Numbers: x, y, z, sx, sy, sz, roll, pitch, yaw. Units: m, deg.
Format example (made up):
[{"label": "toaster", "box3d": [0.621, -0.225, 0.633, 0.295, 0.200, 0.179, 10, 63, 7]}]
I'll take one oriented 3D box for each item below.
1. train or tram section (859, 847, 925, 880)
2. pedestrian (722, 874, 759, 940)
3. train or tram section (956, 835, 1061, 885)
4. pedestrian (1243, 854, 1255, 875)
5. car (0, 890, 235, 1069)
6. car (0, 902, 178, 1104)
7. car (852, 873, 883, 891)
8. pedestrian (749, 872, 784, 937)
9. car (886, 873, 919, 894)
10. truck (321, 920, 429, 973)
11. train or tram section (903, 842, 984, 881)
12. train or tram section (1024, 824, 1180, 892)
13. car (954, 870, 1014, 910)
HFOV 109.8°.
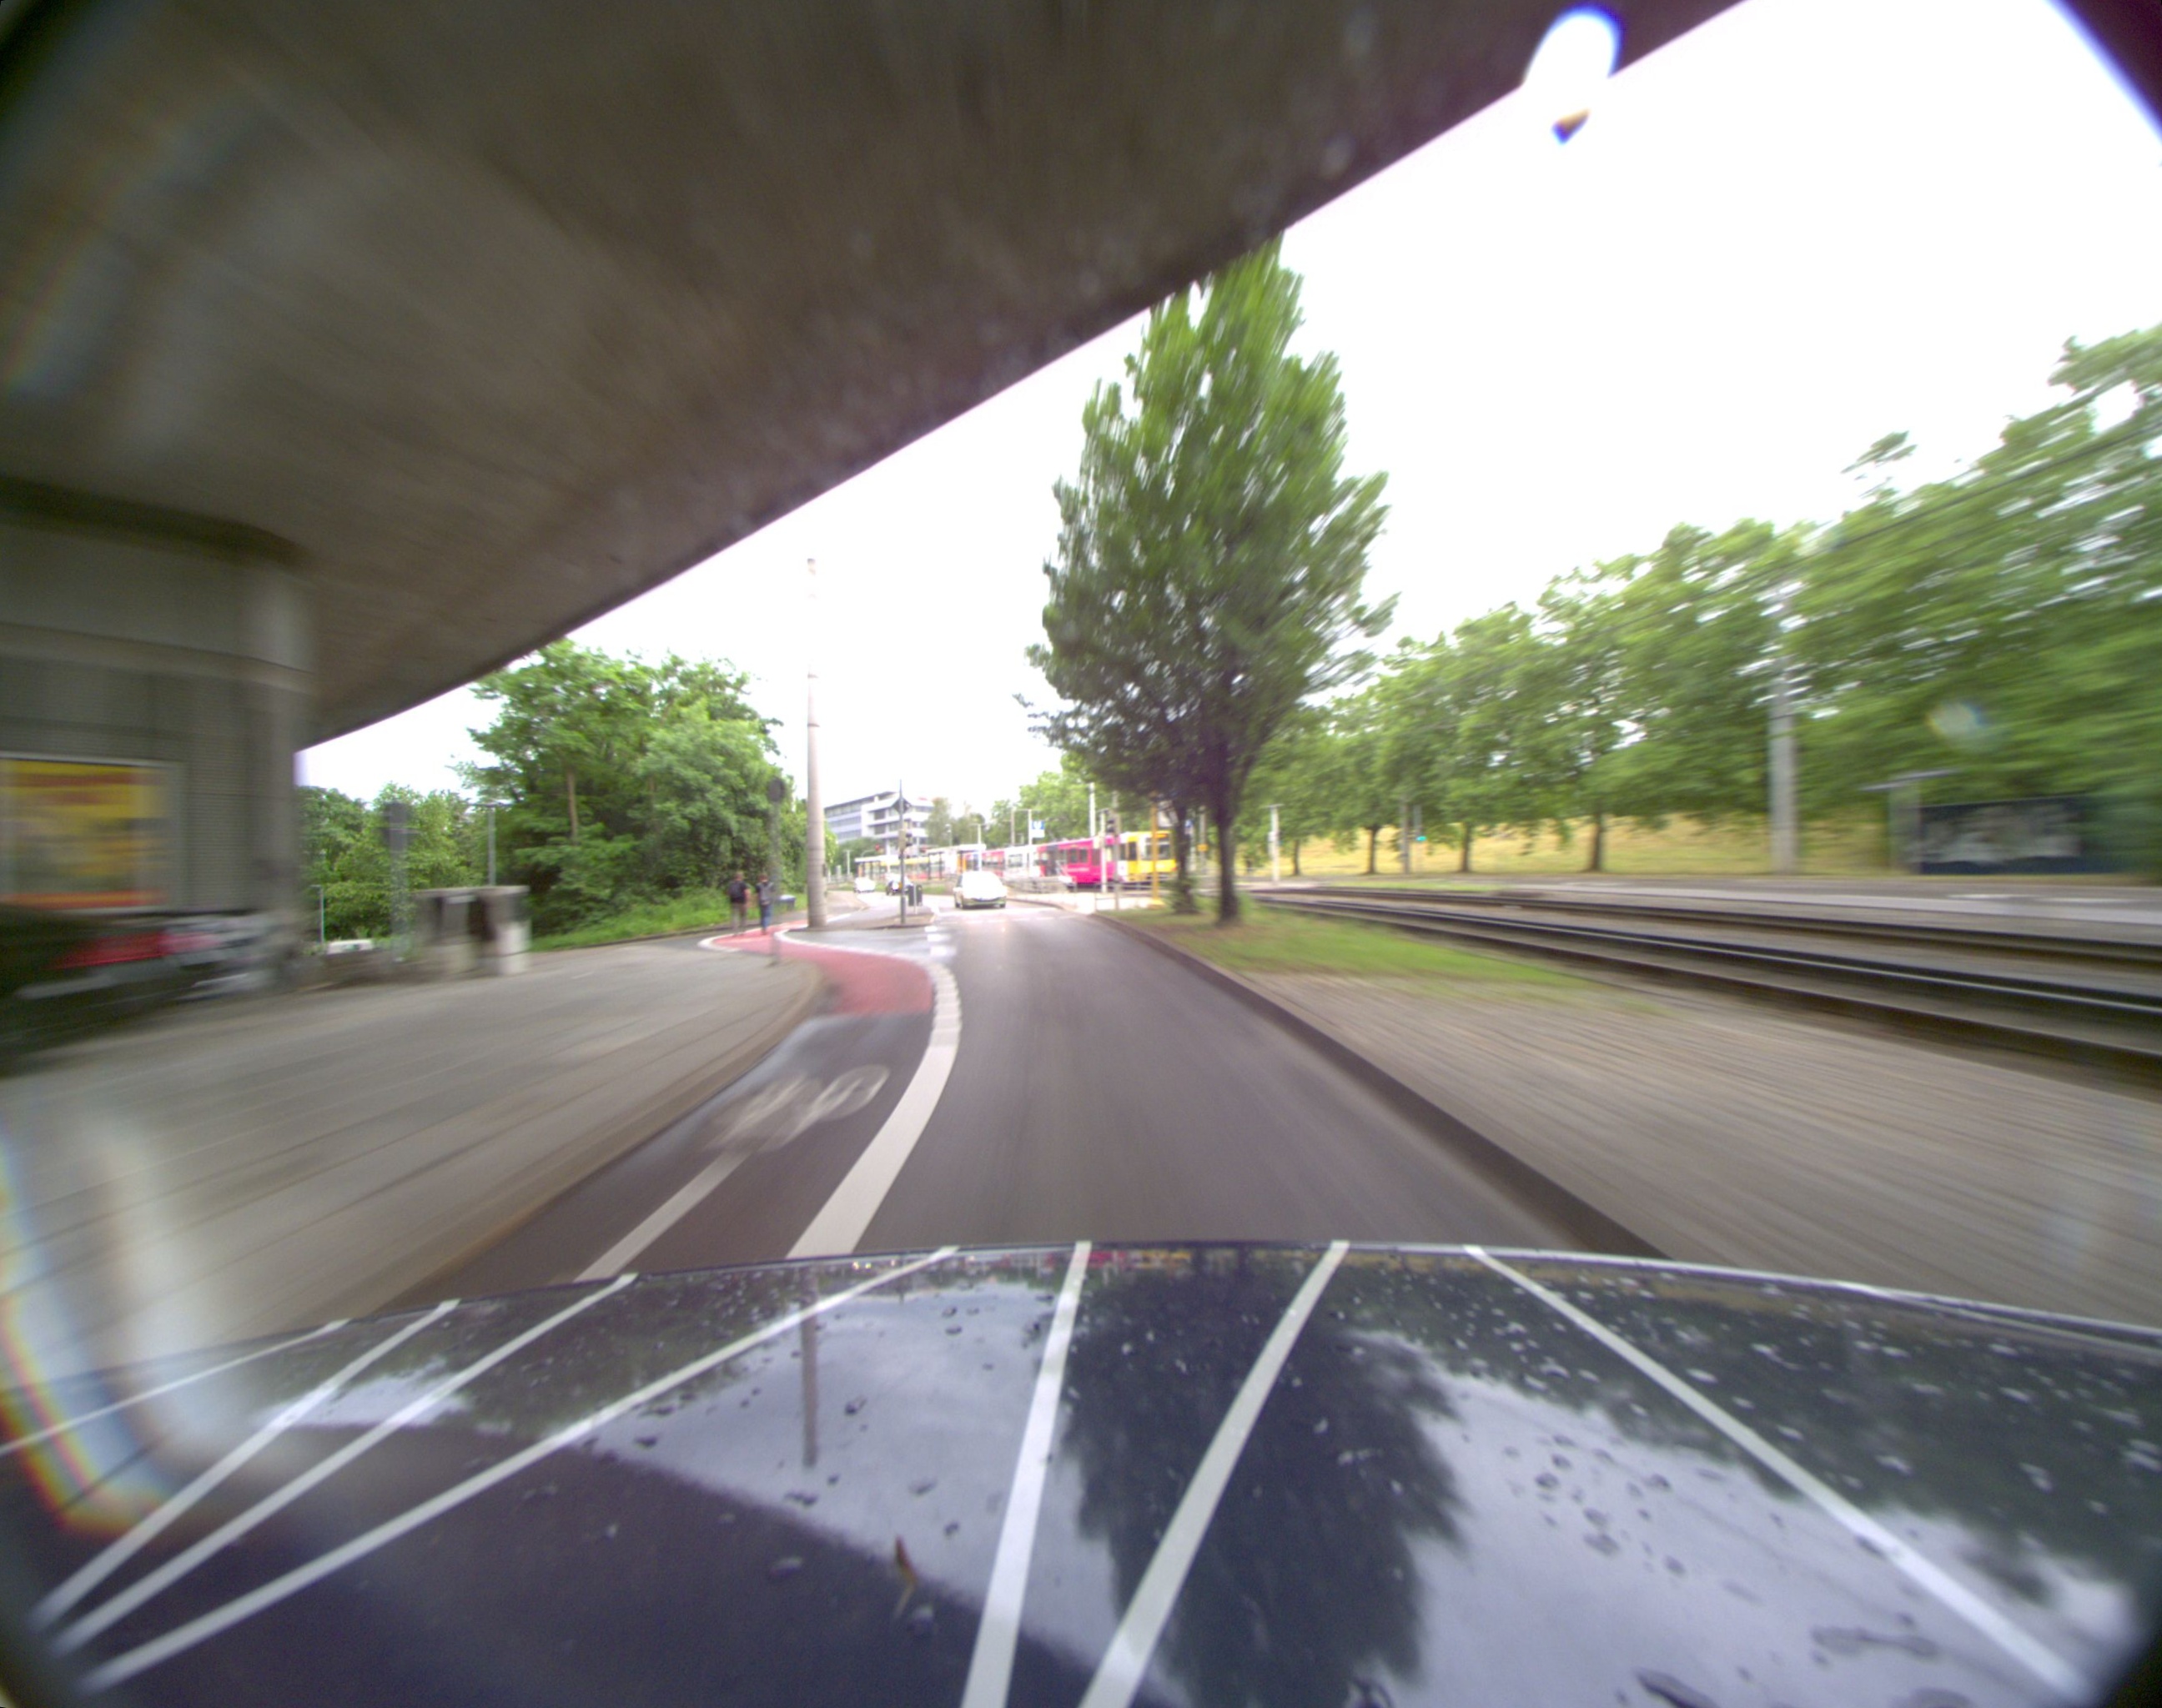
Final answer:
[{"label": "train or tram section", "box3d": [-26.532, 1.415, 105.241, 2.881, 3.950, 19.286, -4, 1, -32]}, {"label": "pedestrian", "box3d": [-9.825, 1.522, 21.954, 0.599, 1.812, 0.909, -4, 1, -6]}, {"label": "train or tram section", "box3d": [-7.434, 0.644, 71.980, 2.880, 3.948, 19.290, -4, 1, -27]}, {"label": "pedestrian", "box3d": [14.583, 0.934, 66.049, 0.731, 1.810, 0.763, -3, 0, -10]}, {"label": "car", "box3d": [-11.276, 1.301, 7.325, 1.900, 1.563, 4.007, -3, 1, 39]}, {"label": "car", "box3d": [-9.424, 1.189, 5.184, 1.782, 1.431, 4.058, -3, 0, 37]}, {"label": "car", "box3d": [-21.483, 2.794, 76.351, 2.003, 1.563, 3.991, -4, 1, -30]}, {"label": "pedestrian", "box3d": [-9.138, 1.462, 22.090, 0.627, 1.798, 0.835, -4, 1, -8]}, {"label": "car", "box3d": [-14.362, 2.320, 61.017, 1.784, 1.493, 3.992, -2, 0, -25]}, {"label": "truck", "box3d": [-33.758, 4.329, 36.296, 5.748, 2.002, 2.713, -3, 0, 37]}, {"label": "train or tram section", "box3d": [-16.534, 0.998, 88.910, 2.881, 3.931, 19.288, -4, 1, -30]}, {"label": "train or tram section", "box3d": [0.701, 0.353, 54.656, 2.880, 3.938, 19.293, -4, 1, -24]}, {"label": "car", "box3d": [-4.112, 1.432, 31.597, 1.783, 1.492, 3.994, -1, -1, -18]}]
